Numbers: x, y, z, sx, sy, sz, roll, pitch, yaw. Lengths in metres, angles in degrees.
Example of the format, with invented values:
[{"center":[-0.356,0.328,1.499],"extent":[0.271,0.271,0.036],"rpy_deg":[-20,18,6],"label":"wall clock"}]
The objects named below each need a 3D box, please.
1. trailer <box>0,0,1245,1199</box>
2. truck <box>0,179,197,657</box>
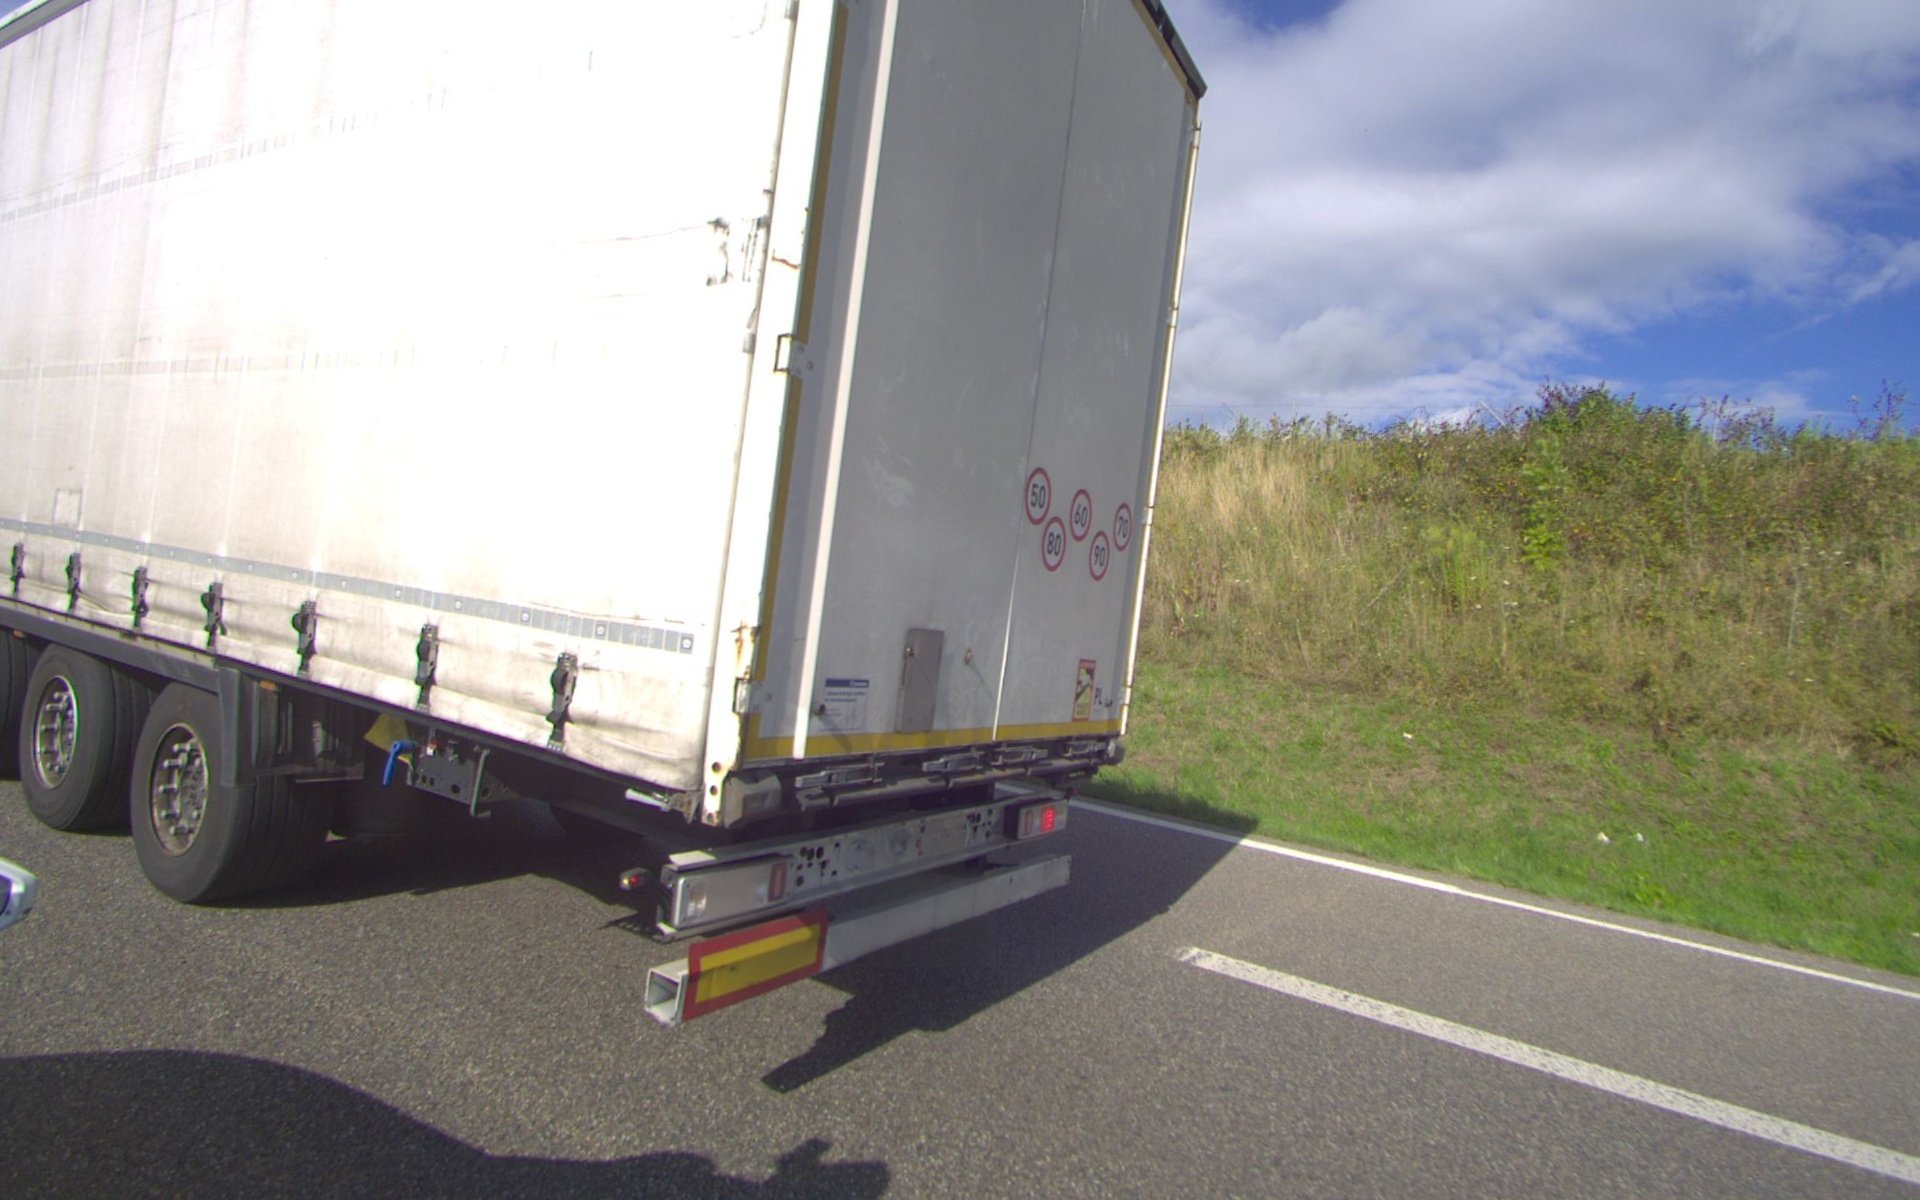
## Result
[{"center":[-5.041,-1.189,6.676],"extent":[12.729,4.131,2.707],"rpy_deg":[7,0,32],"label":"trailer"},{"center":[-11.147,-1.885,10.469],"extent":[6.256,4.108,2.712],"rpy_deg":[6,-1,32],"label":"truck"}]
